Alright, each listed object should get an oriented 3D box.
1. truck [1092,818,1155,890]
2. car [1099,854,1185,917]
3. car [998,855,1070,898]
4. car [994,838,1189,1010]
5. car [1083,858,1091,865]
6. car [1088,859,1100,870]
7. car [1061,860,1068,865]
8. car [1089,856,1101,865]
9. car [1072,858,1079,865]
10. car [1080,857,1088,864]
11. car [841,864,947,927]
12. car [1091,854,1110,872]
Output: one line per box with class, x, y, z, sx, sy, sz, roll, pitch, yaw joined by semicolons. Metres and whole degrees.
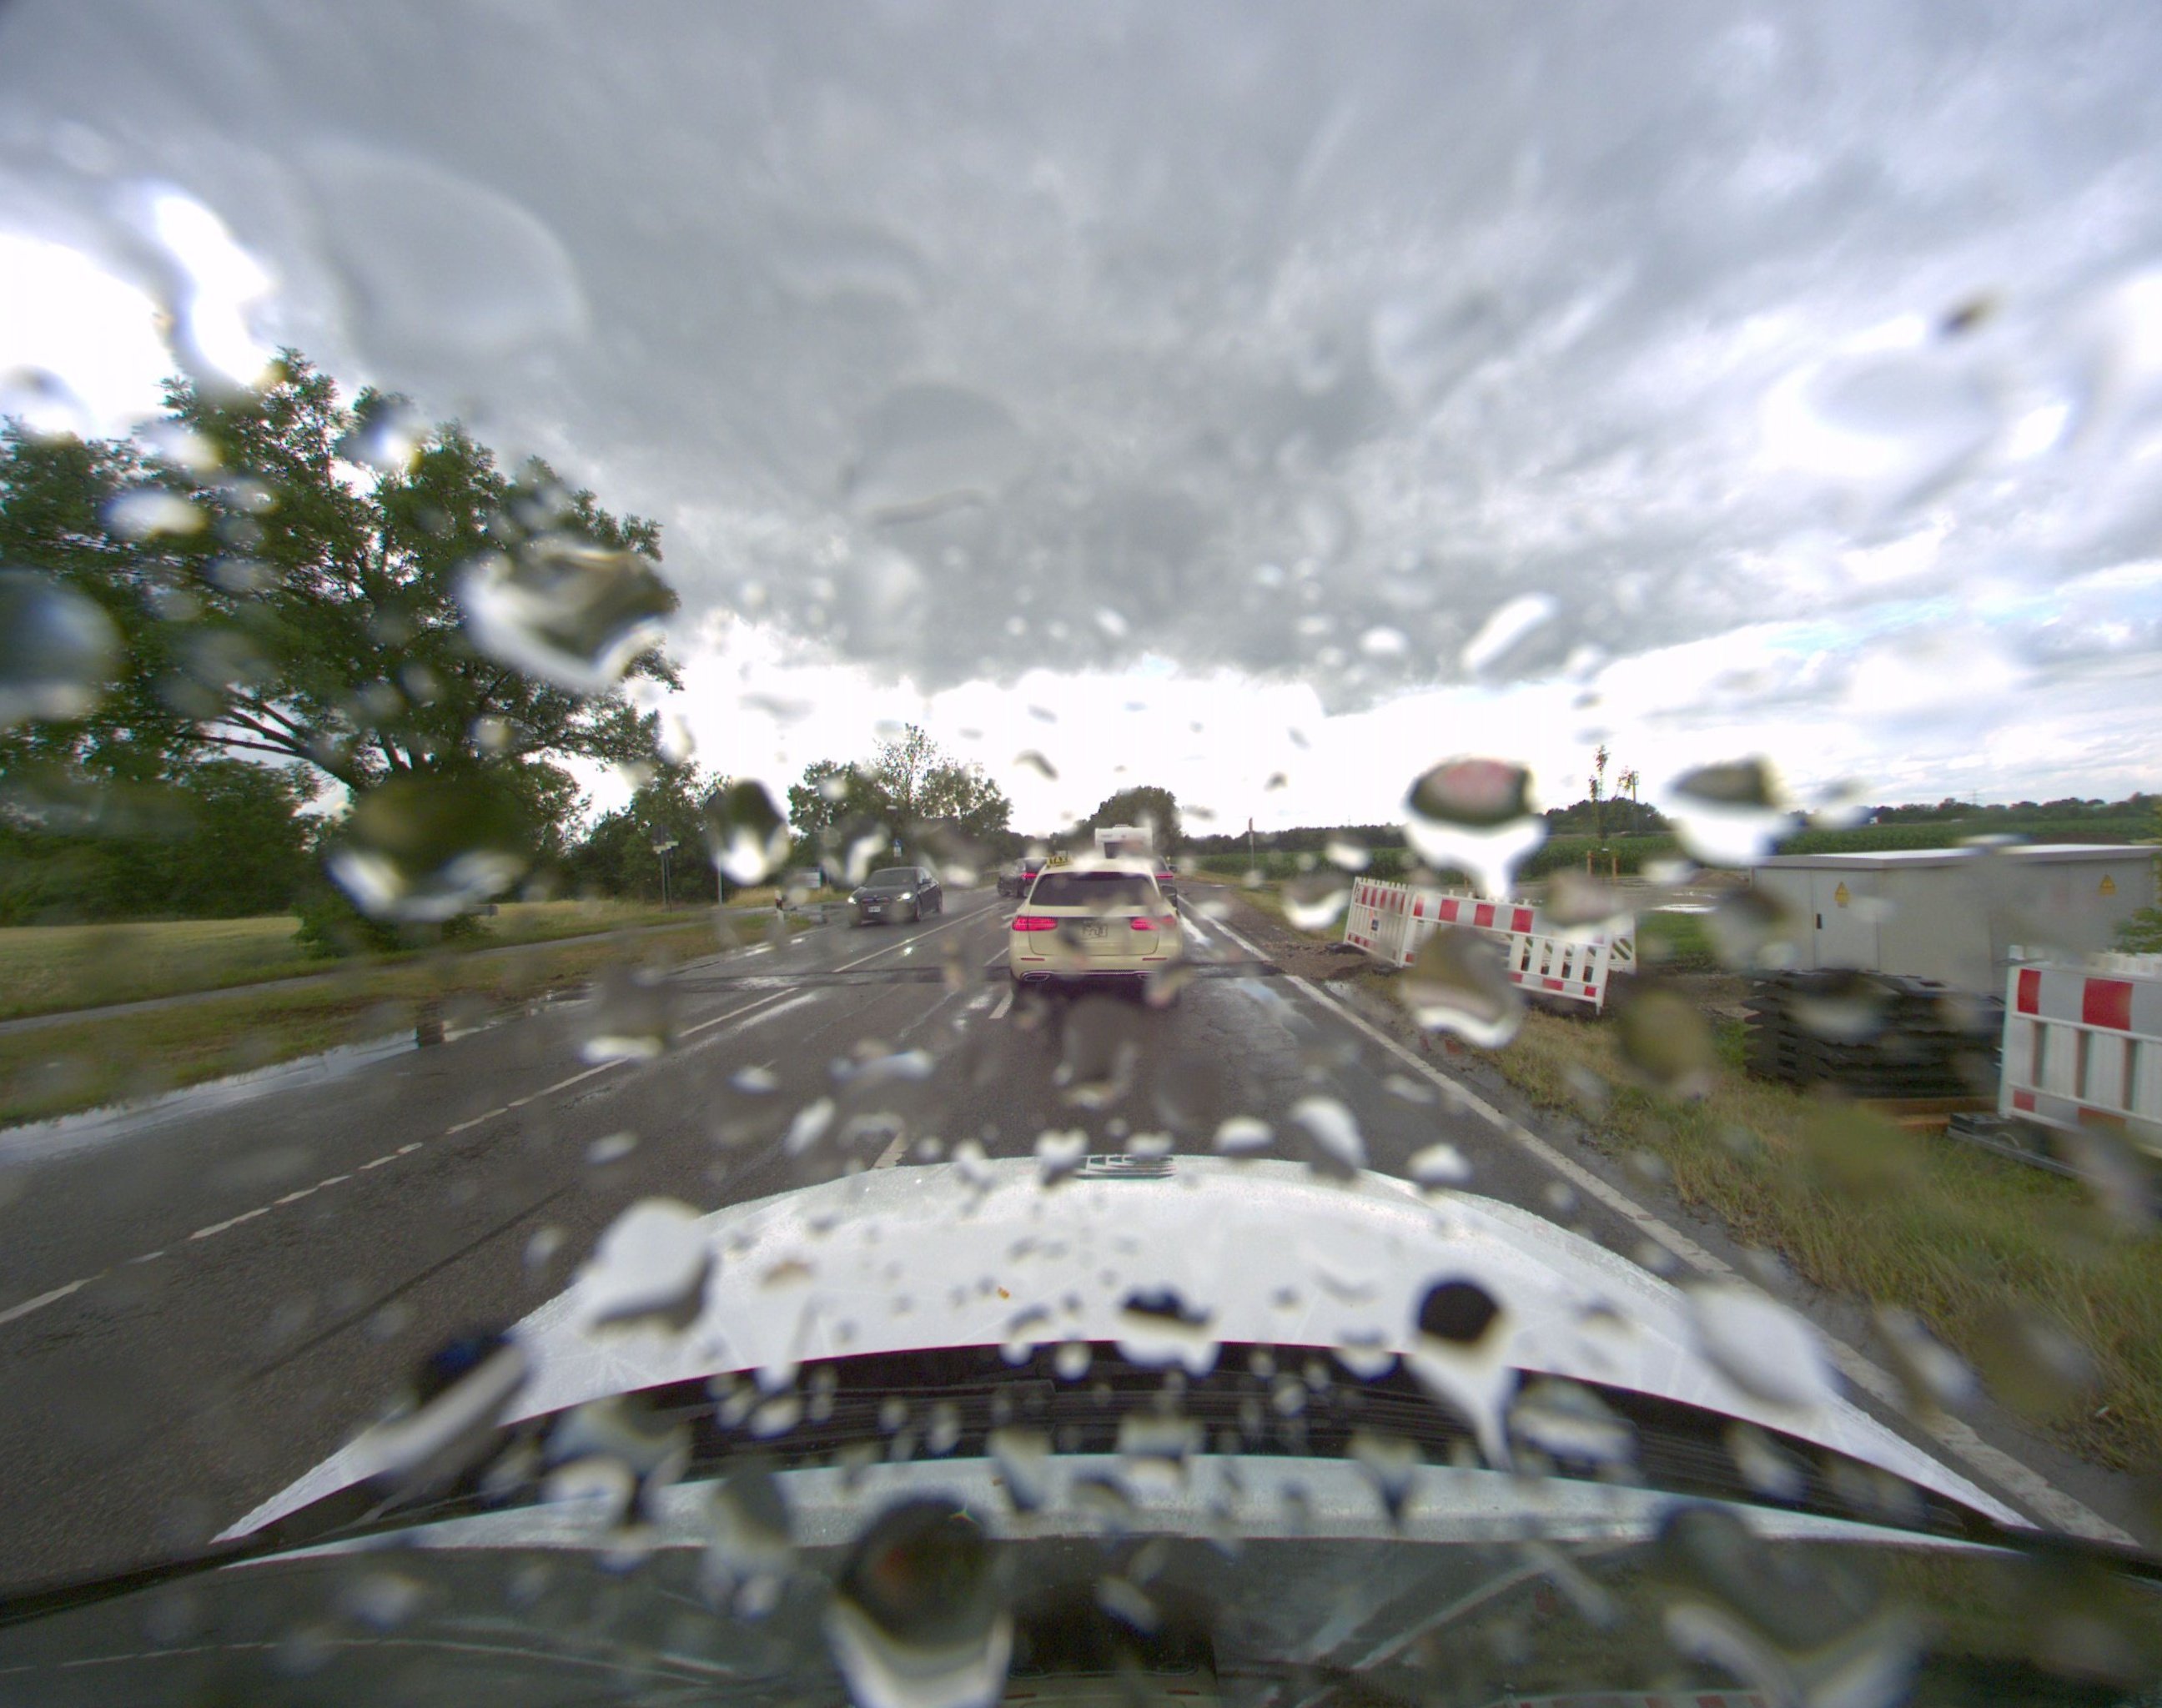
truck;1.780;-0.004;35.477;2.355;2.729;7.317;-2;0;2
car;1.492;0.761;21.066;1.986;1.462;4.001;0;0;2
car;-1.937;0.819;31.758;2.302;1.547;4.616;0;0;-10
car;0.165;0.678;9.779;1.836;1.618;4.001;-1;0;2
car;1.412;1.902;199.138;1.744;1.662;3.670;-2;0;-2
car;2.085;1.671;130.567;1.784;1.777;3.722;-2;0;2
car;-4.761;2.442;242.251;1.821;1.574;4.002;0;0;2
car;2.719;1.280;158.880;1.988;1.772;3.997;-2;0;-2
car;-1.502;2.261;245.448;1.888;1.839;3.883;-2;0;2
car;0.701;1.684;211.524;1.890;1.895;3.841;-2;0;-1
car;-4.884;1.032;21.831;1.713;1.404;4.045;-4;0;1
car;2.077;0.923;86.312;1.908;1.841;3.797;-2;0;2
